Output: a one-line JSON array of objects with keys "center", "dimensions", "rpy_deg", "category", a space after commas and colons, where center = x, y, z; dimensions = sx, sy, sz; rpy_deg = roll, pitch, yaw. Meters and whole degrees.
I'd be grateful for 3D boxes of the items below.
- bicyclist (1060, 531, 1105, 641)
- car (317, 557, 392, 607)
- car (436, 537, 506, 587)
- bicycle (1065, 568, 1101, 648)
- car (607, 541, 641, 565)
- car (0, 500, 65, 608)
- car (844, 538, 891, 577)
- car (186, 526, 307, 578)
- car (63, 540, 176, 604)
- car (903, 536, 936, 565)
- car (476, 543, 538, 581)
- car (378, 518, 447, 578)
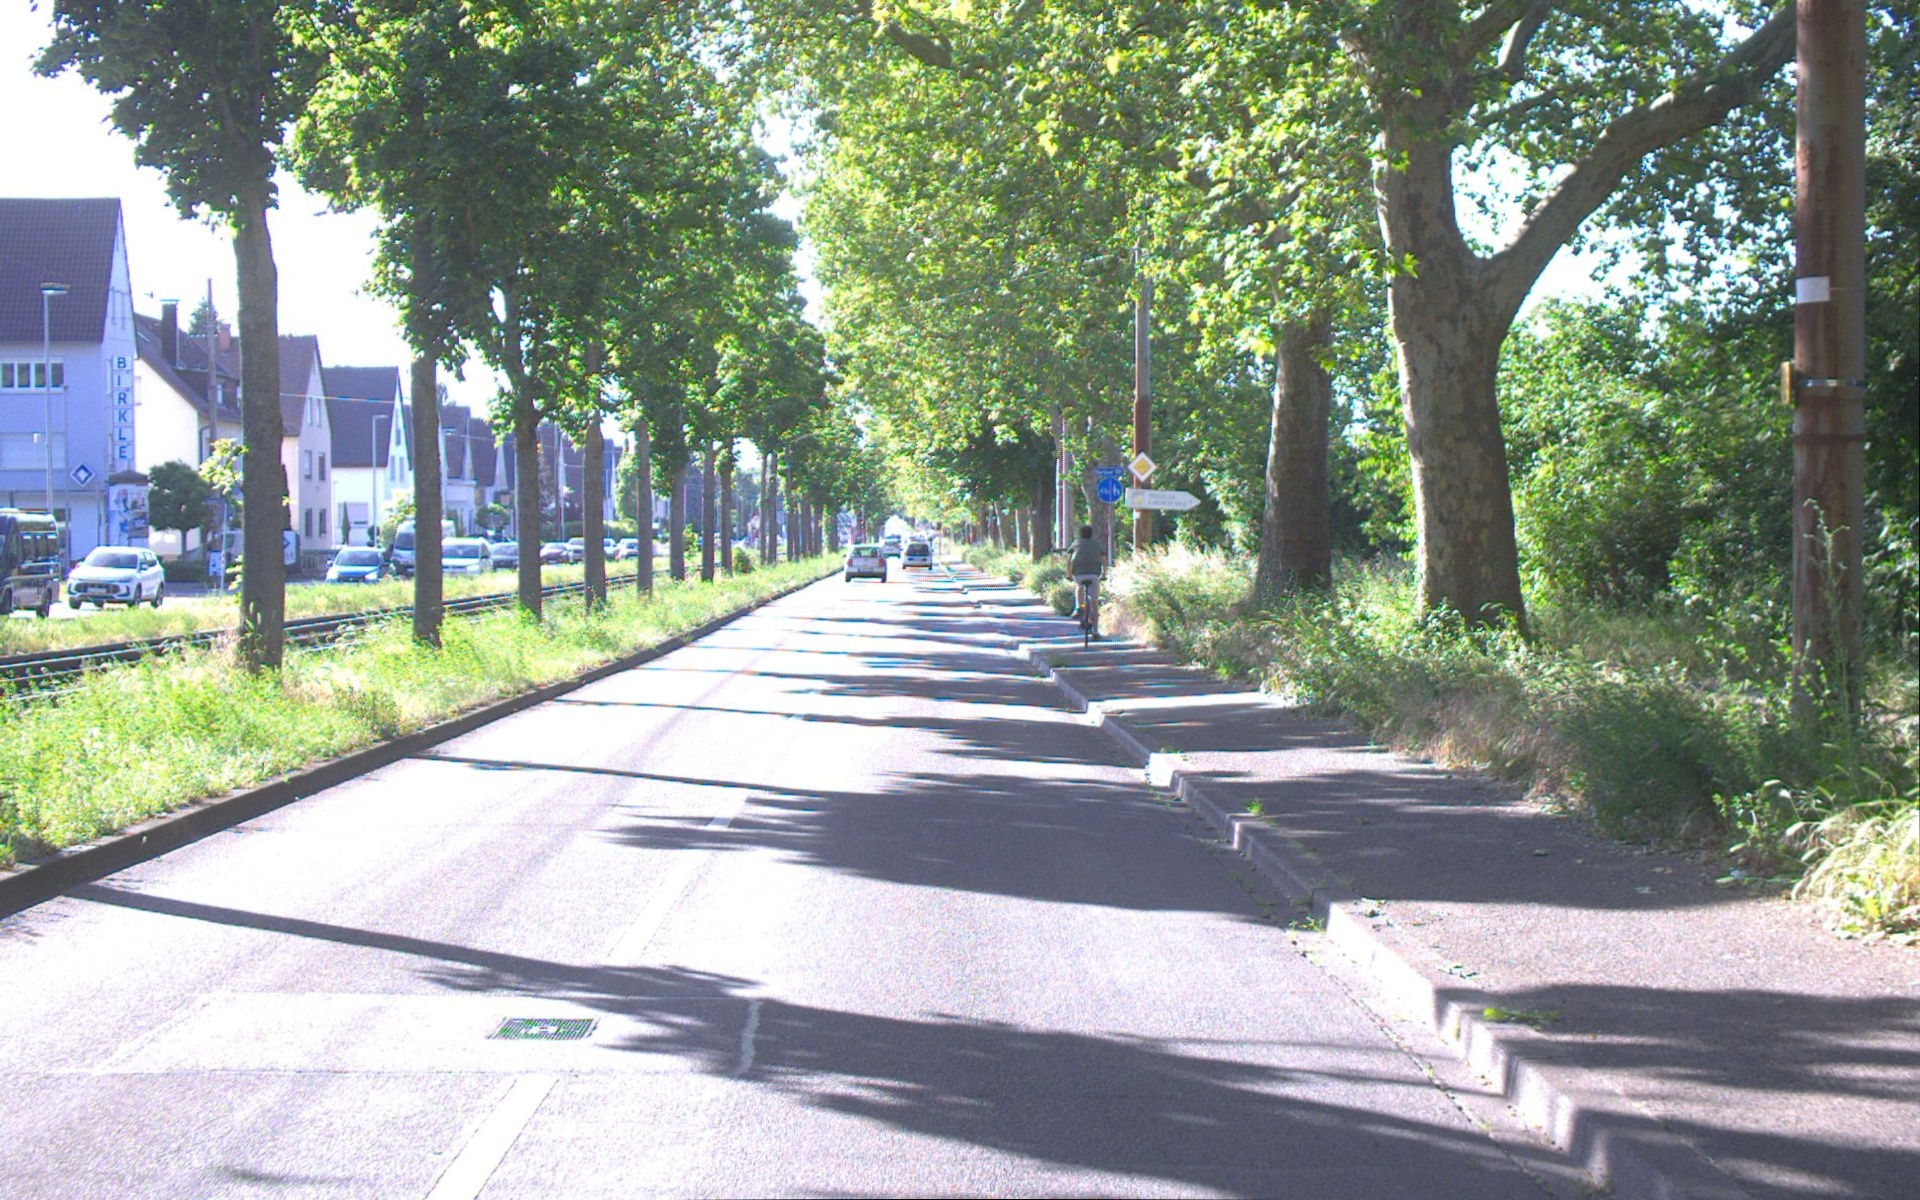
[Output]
[{"center": [1.822, -0.218, 51.224], "dimensions": [0.613, 1.623, 0.909], "rpy_deg": [0, 1, -1], "category": "bicyclist"}, {"center": [-17.830, -0.529, 101.408], "dimensions": [1.557, 1.390, 3.820], "rpy_deg": [2, 0, -1], "category": "car"}, {"center": [-17.726, -1.359, 124.726], "dimensions": [1.810, 1.738, 4.982], "rpy_deg": [2, 0, -1], "category": "car"}, {"center": [1.824, 0.107, 51.211], "dimensions": [0.440, 1.149, 1.823], "rpy_deg": [0, 1, -1], "category": "bicycle"}, {"center": [-19.723, -2.770, 201.937], "dimensions": [1.676, 1.405, 4.000], "rpy_deg": [0, 1, -1], "category": "car"}, {"center": [-22.289, -1.062, 78.198], "dimensions": [2.182, 2.368, 6.465], "rpy_deg": [2, 0, -1], "category": "car"}, {"center": [-3.565, -1.627, 132.739], "dimensions": [1.738, 1.396, 3.277], "rpy_deg": [2, 0, -1], "category": "car"}, {"center": [-28.330, -1.915, 136.630], "dimensions": [4.616, 1.939, 2.001], "rpy_deg": [1, 0, -11], "category": "car"}, {"center": [-22.440, -0.727, 91.913], "dimensions": [1.823, 1.602, 4.774], "rpy_deg": [2, 0, 0], "category": "car"}, {"center": [-2.210, -2.712, 188.580], "dimensions": [1.761, 1.508, 3.277], "rpy_deg": [2, 0, 0], "category": "car"}, {"center": [-18.437, -1.553, 139.937], "dimensions": [1.993, 1.526, 3.751], "rpy_deg": [0, 1, 1], "category": "car"}, {"center": [-23.902, -2.244, 150.284], "dimensions": [1.993, 2.451, 6.675], "rpy_deg": [2, 0, -1], "category": "car"}]
